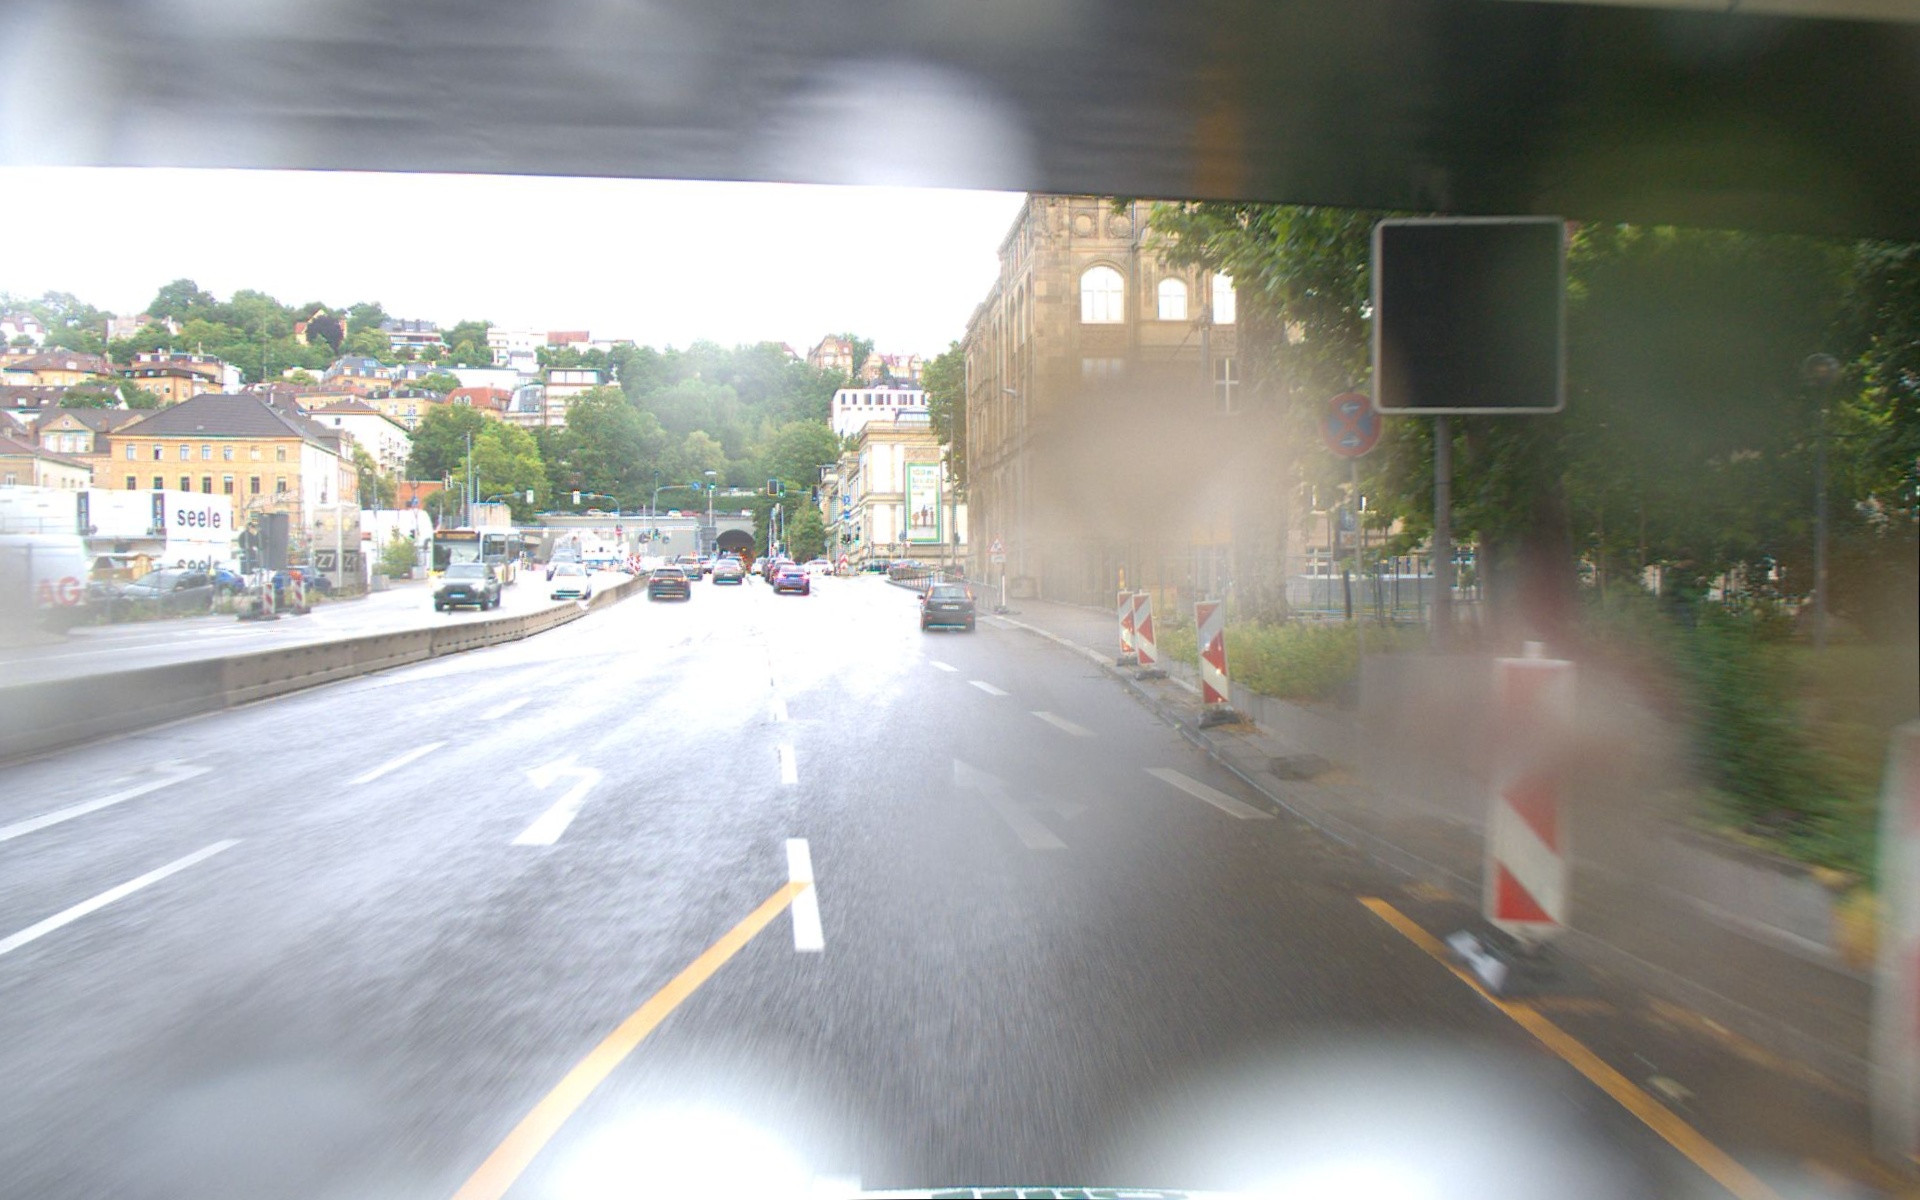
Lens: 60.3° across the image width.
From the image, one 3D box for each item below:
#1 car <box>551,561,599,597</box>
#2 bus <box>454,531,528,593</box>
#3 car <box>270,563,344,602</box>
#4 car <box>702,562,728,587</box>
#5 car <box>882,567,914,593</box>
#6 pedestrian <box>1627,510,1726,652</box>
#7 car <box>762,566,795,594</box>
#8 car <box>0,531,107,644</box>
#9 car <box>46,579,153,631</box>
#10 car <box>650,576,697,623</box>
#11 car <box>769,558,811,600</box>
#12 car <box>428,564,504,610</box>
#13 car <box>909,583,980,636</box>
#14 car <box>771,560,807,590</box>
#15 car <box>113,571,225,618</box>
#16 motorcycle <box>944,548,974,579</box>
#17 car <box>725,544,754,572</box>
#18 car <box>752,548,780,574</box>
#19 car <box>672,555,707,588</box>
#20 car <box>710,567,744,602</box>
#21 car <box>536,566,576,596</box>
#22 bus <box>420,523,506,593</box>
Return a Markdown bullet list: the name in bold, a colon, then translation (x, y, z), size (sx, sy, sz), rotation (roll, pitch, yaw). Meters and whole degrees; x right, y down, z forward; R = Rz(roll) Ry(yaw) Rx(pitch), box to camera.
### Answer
- **car**: translation (-17.197, -0.917, 73.998), size (1.676, 1.515, 3.445), rotation (-1, -1, -7)
- **bus**: translation (-25.722, -2.008, 91.036), size (2.653, 3.206, 9.133), rotation (-1, 0, -8)
- **car**: translation (-29.384, -0.803, 74.513), size (1.954, 1.650, 3.997), rotation (-1, 2, -4)
- **car**: translation (-22.589, -2.337, 152.419), size (2.251, 2.049, 4.593), rotation (-1, -1, -10)
- **car**: translation (-4.985, -1.603, 133.505), size (1.951, 2.049, 4.003), rotation (0, 0, 8)
- **pedestrian**: translation (10.689, -0.285, 24.668), size (1.044, 2.049, 1.023), rotation (-1, 1, -43)
- **car**: translation (-12.179, -1.329, 110.792), size (1.957, 1.728, 3.990), rotation (-1, -1, -10)
- **car**: translation (-25.602, -0.300, 43.368), size (1.952, 2.925, 6.054), rotation (-2, -1, 19)
- **car**: translation (-28.968, 0.136, 55.806), size (1.727, 1.592, 4.171), rotation (-1, 2, -5)
- **car**: translation (-13.097, 0.001, 75.757), size (1.979, 2.049, 3.992), rotation (-1, -1, -8)
- **car**: translation (-9.059, -1.088, 87.996), size (2.065, 2.086, 3.992), rotation (-1, -1, -8)
- **car**: translation (-18.783, -0.524, 63.109), size (2.043, 1.659, 4.844), rotation (-1, 1, -8)
- **car**: translation (-0.509, 0.297, 51.420), size (1.777, 1.553, 3.994), rotation (-2, 0, -6)
- **car**: translation (-10.789, -1.579, 103.914), size (1.957, 1.728, 3.990), rotation (-1, -1, -10)
- **car**: translation (-29.007, -0.174, 60.816), size (1.725, 1.593, 4.683), rotation (-1, -1, 1)
- **motorcycle**: translation (-0.078, -2.477, 112.688), size (1.760, 2.048, 3.810), rotation (-1, 2, -4)
- **car**: translation (-16.196, -3.073, 121.592), size (1.957, 1.902, 3.991), rotation (-1, -1, -9)
- **car**: translation (-16.077, -3.187, 136.765), size (1.958, 2.049, 3.989), rotation (-1, 0, -11)
- **car**: translation (-17.888, -1.877, 109.614), size (1.955, 2.049, 3.995), rotation (-1, -1, -6)
- **car**: translation (-14.472, -0.926, 102.693), size (2.014, 2.049, 3.991), rotation (-1, -1, -9)
- **car**: translation (-24.687, -1.122, 101.148), size (2.002, 1.691, 4.921), rotation (-1, -1, -10)
- **bus**: translation (-24.520, -2.000, 82.000), size (2.754, 3.240, 8.791), rotation (-1, 0, -8)
